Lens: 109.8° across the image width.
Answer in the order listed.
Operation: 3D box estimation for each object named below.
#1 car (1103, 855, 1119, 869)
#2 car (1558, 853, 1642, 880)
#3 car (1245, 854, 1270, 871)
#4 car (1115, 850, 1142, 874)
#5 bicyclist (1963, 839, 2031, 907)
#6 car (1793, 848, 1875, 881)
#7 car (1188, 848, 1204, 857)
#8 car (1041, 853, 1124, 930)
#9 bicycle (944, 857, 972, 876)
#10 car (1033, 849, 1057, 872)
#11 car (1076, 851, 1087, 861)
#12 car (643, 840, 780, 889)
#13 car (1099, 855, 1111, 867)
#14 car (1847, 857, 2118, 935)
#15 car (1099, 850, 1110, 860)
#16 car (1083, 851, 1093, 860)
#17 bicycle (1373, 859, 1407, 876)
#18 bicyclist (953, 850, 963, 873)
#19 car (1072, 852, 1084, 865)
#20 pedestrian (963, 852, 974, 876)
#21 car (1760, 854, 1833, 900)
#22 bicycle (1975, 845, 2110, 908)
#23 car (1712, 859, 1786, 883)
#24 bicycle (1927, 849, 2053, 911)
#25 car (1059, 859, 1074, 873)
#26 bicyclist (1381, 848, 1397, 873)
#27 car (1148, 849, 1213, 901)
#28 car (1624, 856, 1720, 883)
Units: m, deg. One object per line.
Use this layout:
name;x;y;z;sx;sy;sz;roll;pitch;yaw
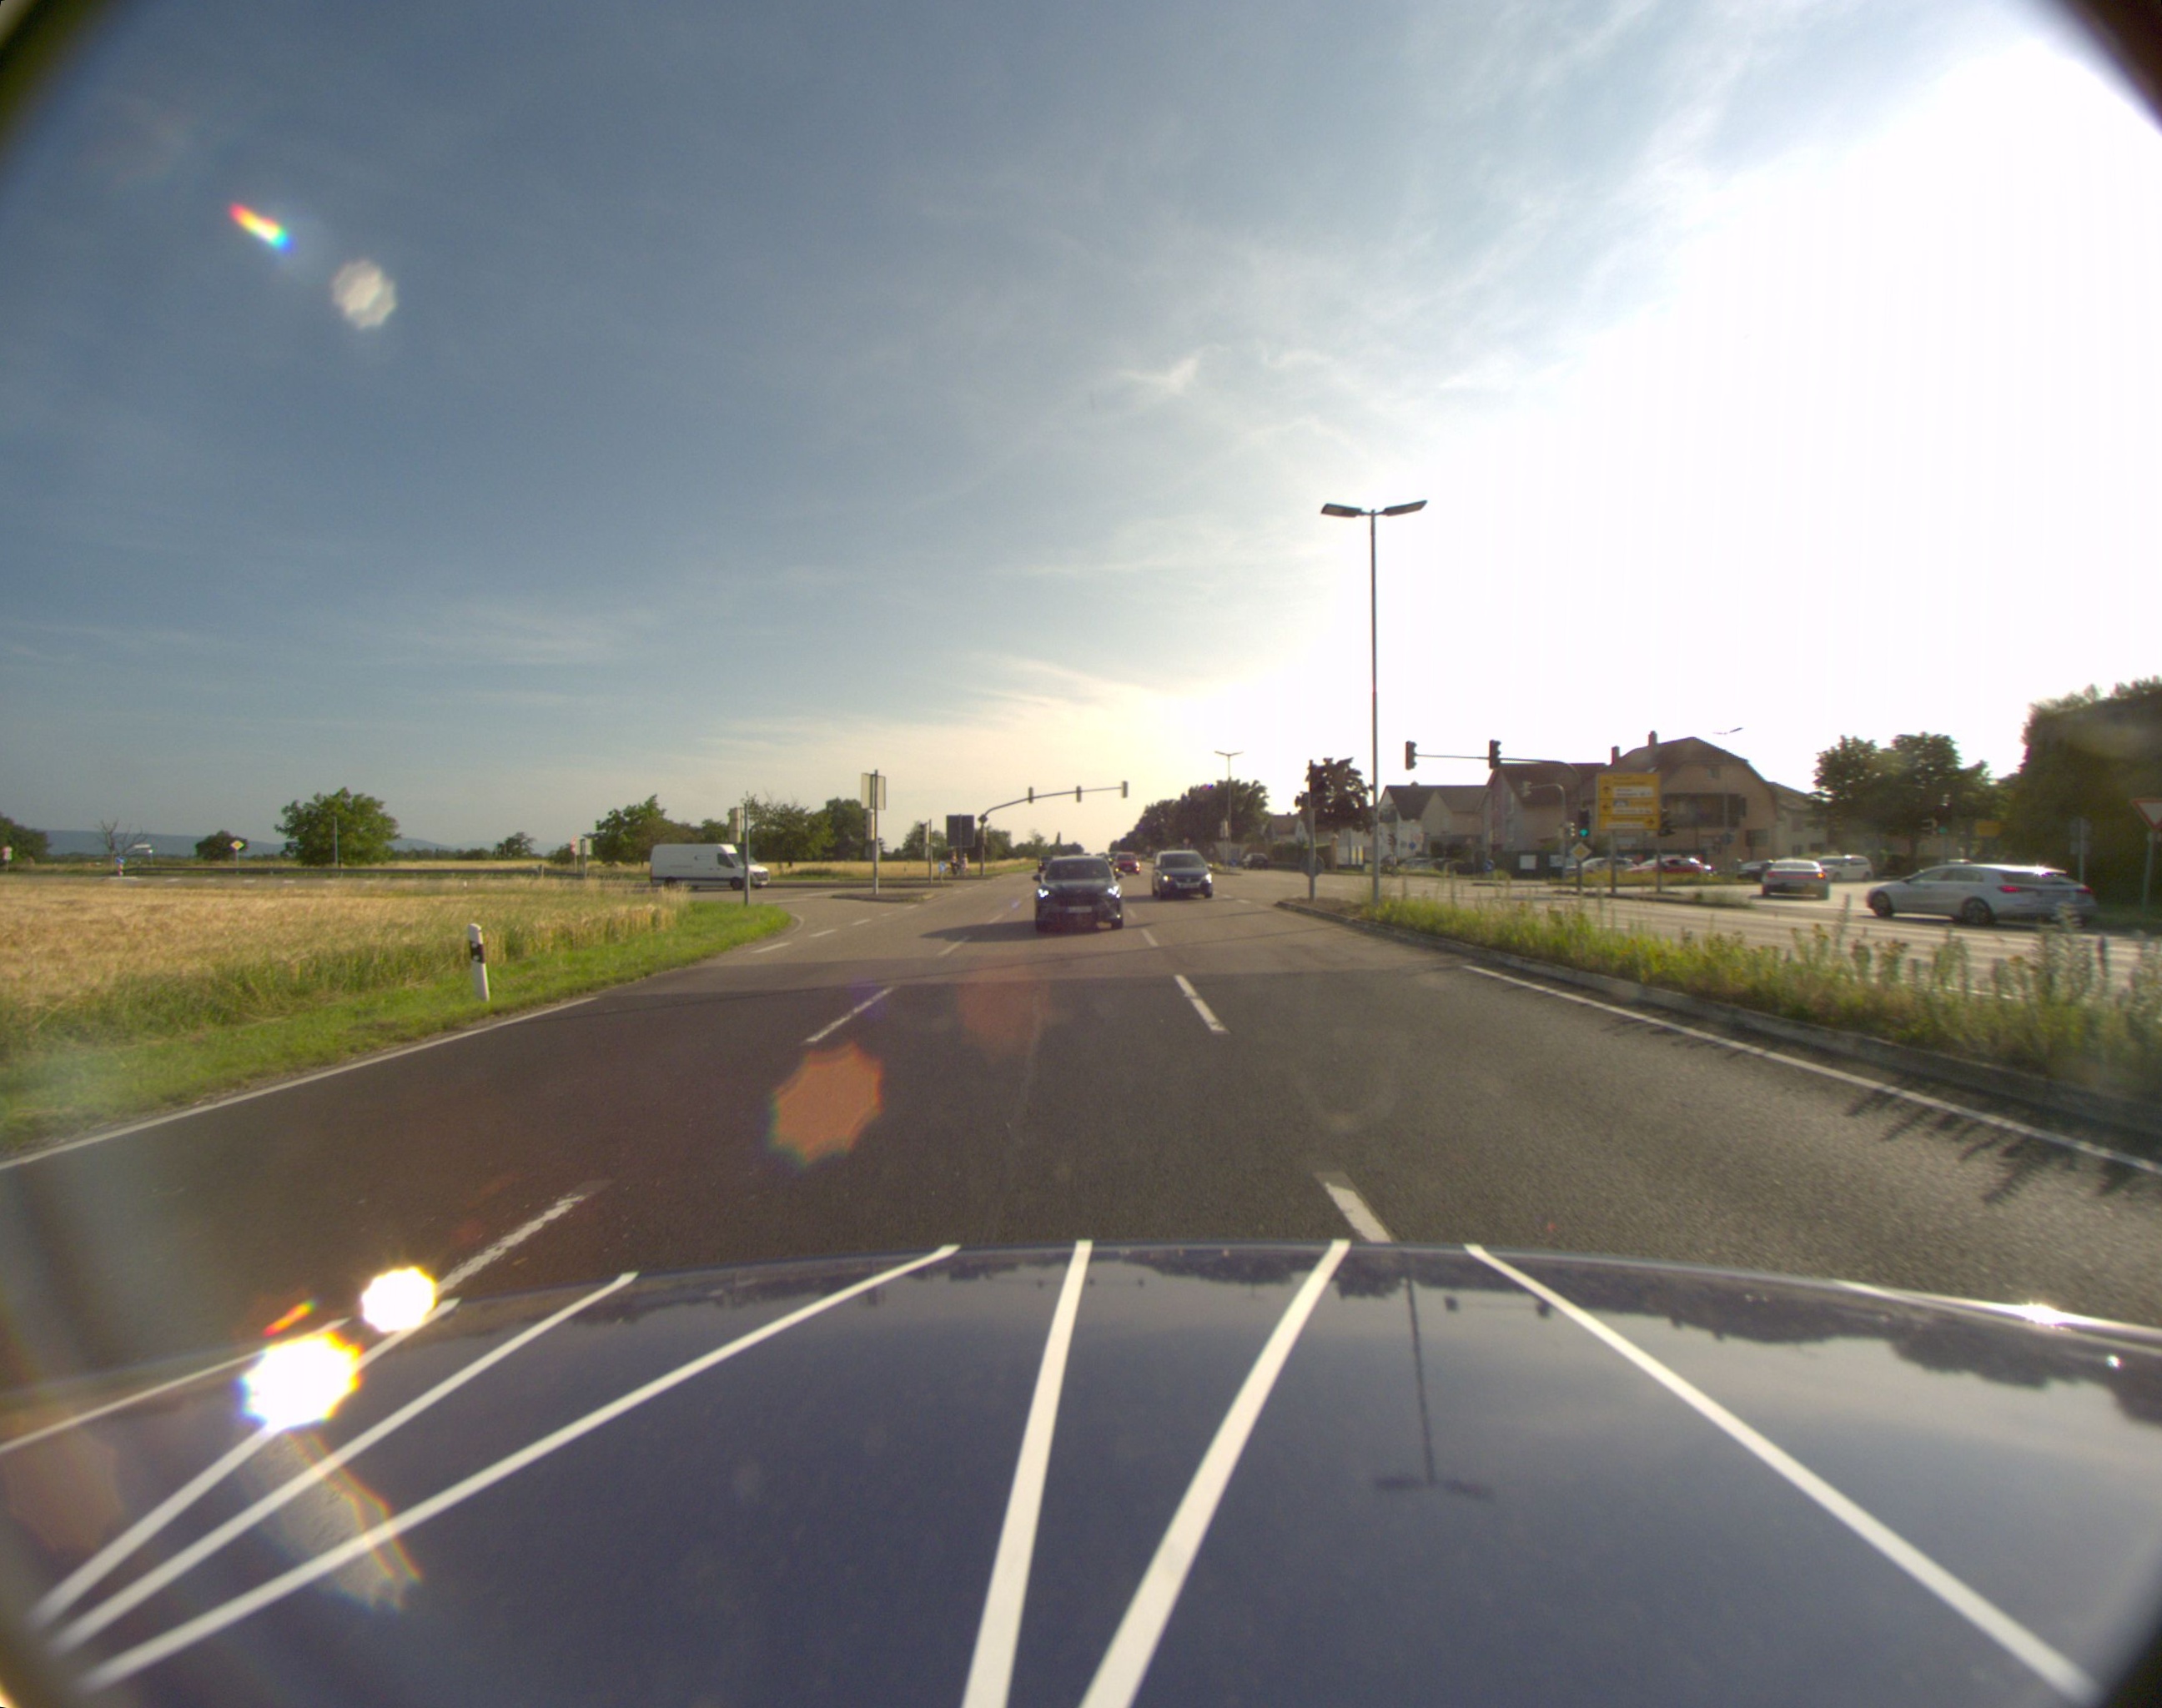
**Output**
car;3.494;0.932;89.431;1.719;1.521;3.999;-2;1;1
car;32.542;0.766;47.738;3.996;1.554;1.758;1;1;1
car;17.086;0.839;73.827;1.735;1.532;4.248;1;1;5
car;3.404;0.559;55.406;1.748;1.537;3.999;-2;1;1
bicyclist;27.658;0.556;22.960;0.772;2.002;1.062;-2;1;0
car;46.355;0.639;46.779;4.185;1.805;1.996;-2;1;-20
car;18.039;-0.257;119.542;1.758;1.453;4.734;1;1;1
car;0.078;0.846;19.181;1.791;1.594;4.339;-2;1;1
bicycle;-8.902;0.872;54.920;1.858;1.282;0.529;-2;1;3
car;-3.302;0.594;70.059;1.999;2.002;3.998;-2;1;-2
car;0.051;0.395;153.878;1.999;2.002;3.998;-2;1;-3
car;-20.741;0.566;42.698;7.202;2.654;2.094;0;2;14
car;4.490;1.317;144.361;1.999;2.002;3.998;-2;1;-2
car;21.524;0.905;18.503;1.705;1.489;4.541;3;1;11
car;4.984;0.117;160.463;1.999;2.002;3.998;-2;1;-2
car;1.725;0.354;188.758;1.999;2.002;3.998;-2;1;-2
bicycle;22.469;0.992;55.270;2.159;1.185;0.904;0;2;9
bicyclist;-8.921;0.532;55.133;0.560;1.603;0.504;-2;1;7
car;-0.490;0.798;125.627;1.998;2.002;3.999;-2;1;0
pedestrian;-8.404;0.734;56.842;0.623;1.741;0.598;-2;1;11
car;28.086;0.865;29.855;1.950;1.489;4.770;-1;1;43
bicycle;28.805;0.620;22.853;0.755;1.739;2.607;-2;1;1
car;39.608;0.989;45.046;3.617;1.170;1.754;-2;1;-20
bicycle;27.675;0.738;23.219;0.755;1.739;2.607;-2;1;1
car;-1.734;1.421;91.184;1.686;1.565;3.817;-2;1;1
bicyclist;22.398;0.482;55.275;0.856;1.777;0.847;2;2;9
car;3.440;0.680;27.093;1.777;1.612;4.681;-1;1;1
car;33.406;0.862;42.984;4.304;1.405;1.641;2;0;-6
